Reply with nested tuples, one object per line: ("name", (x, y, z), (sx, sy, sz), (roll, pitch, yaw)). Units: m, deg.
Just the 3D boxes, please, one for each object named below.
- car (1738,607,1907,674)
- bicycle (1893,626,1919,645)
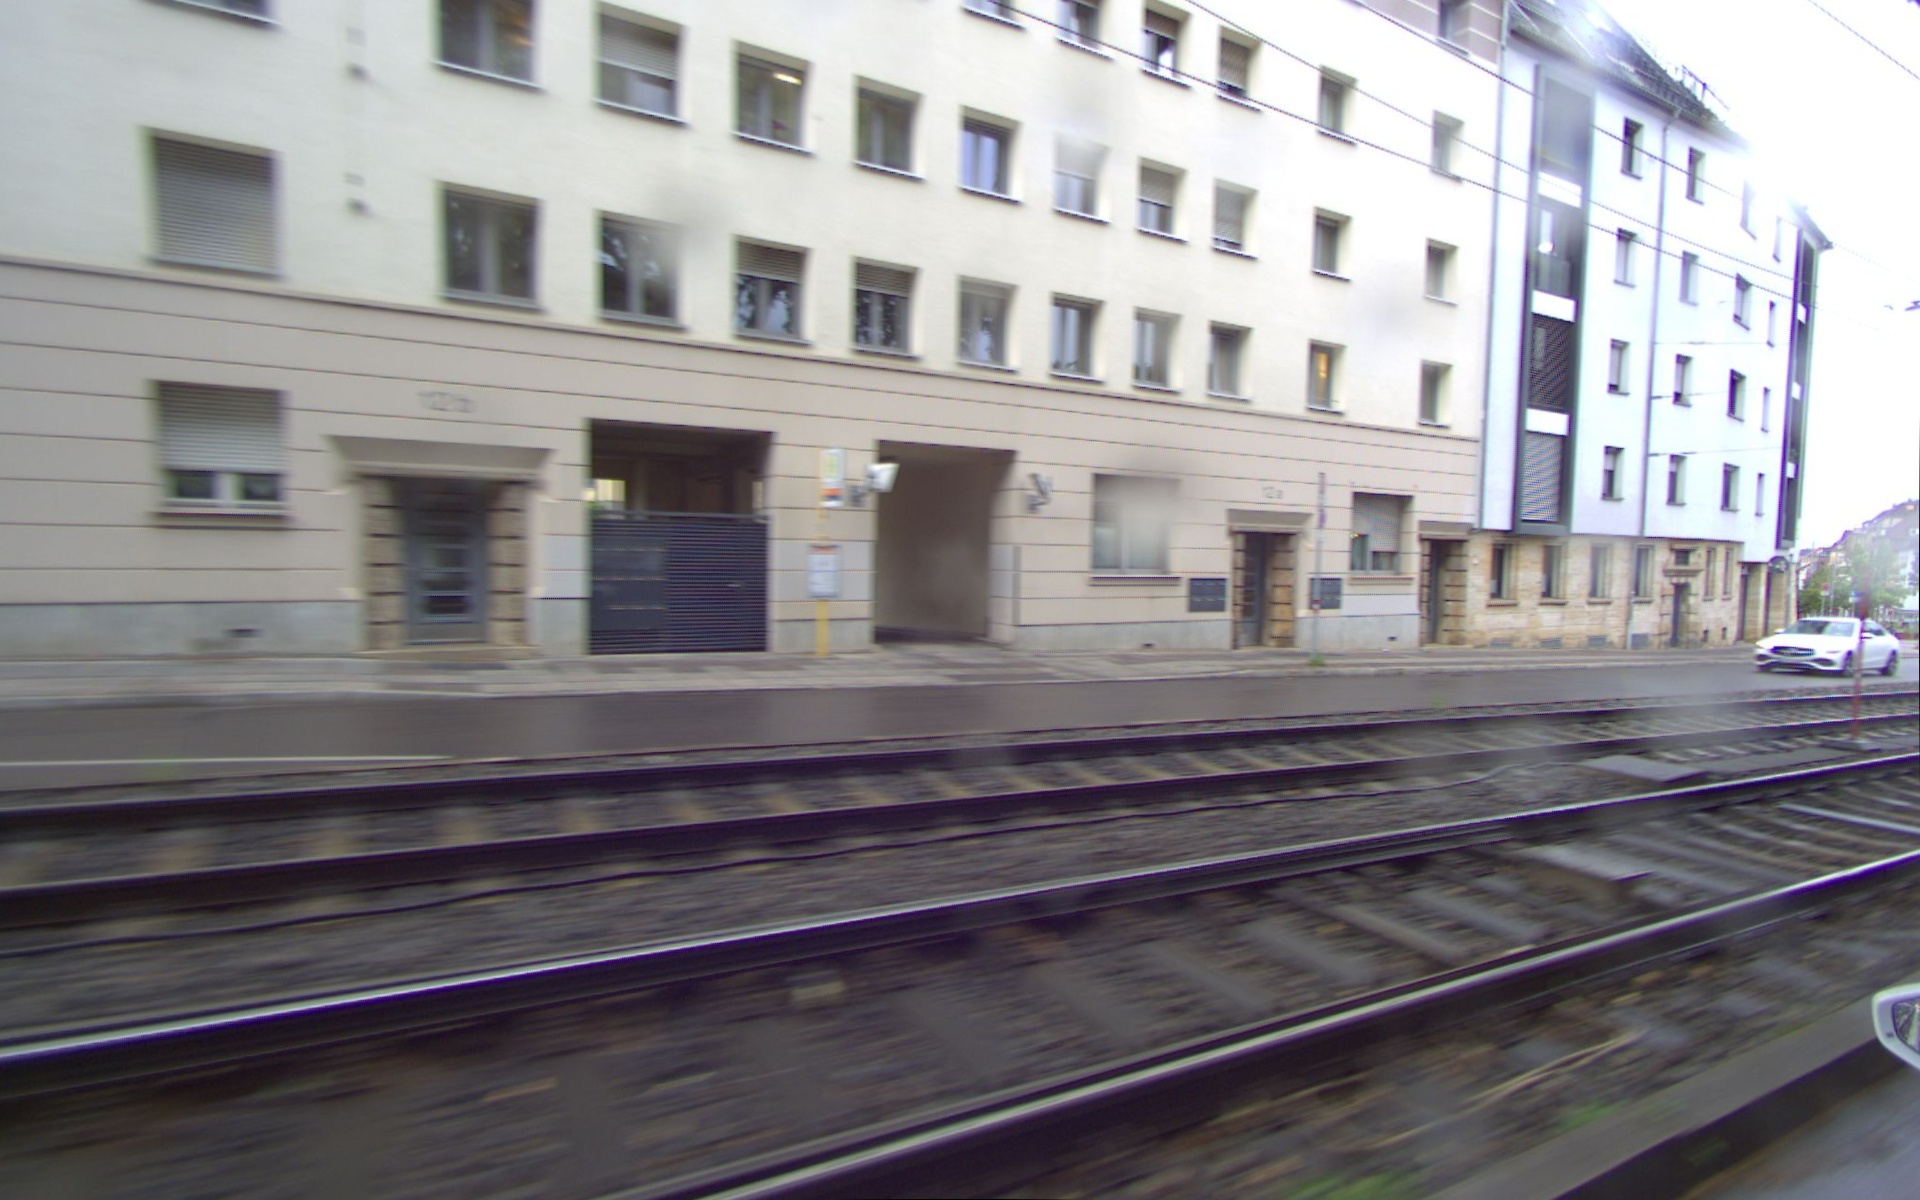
("car", (22.277, 1.049, 25.904), (4.783, 1.502, 1.791), (2, 2, -30))
("bicycle", (57.073, 2.143, 60.033), (0.564, 1.075, 1.802), (2, 2, -32))
